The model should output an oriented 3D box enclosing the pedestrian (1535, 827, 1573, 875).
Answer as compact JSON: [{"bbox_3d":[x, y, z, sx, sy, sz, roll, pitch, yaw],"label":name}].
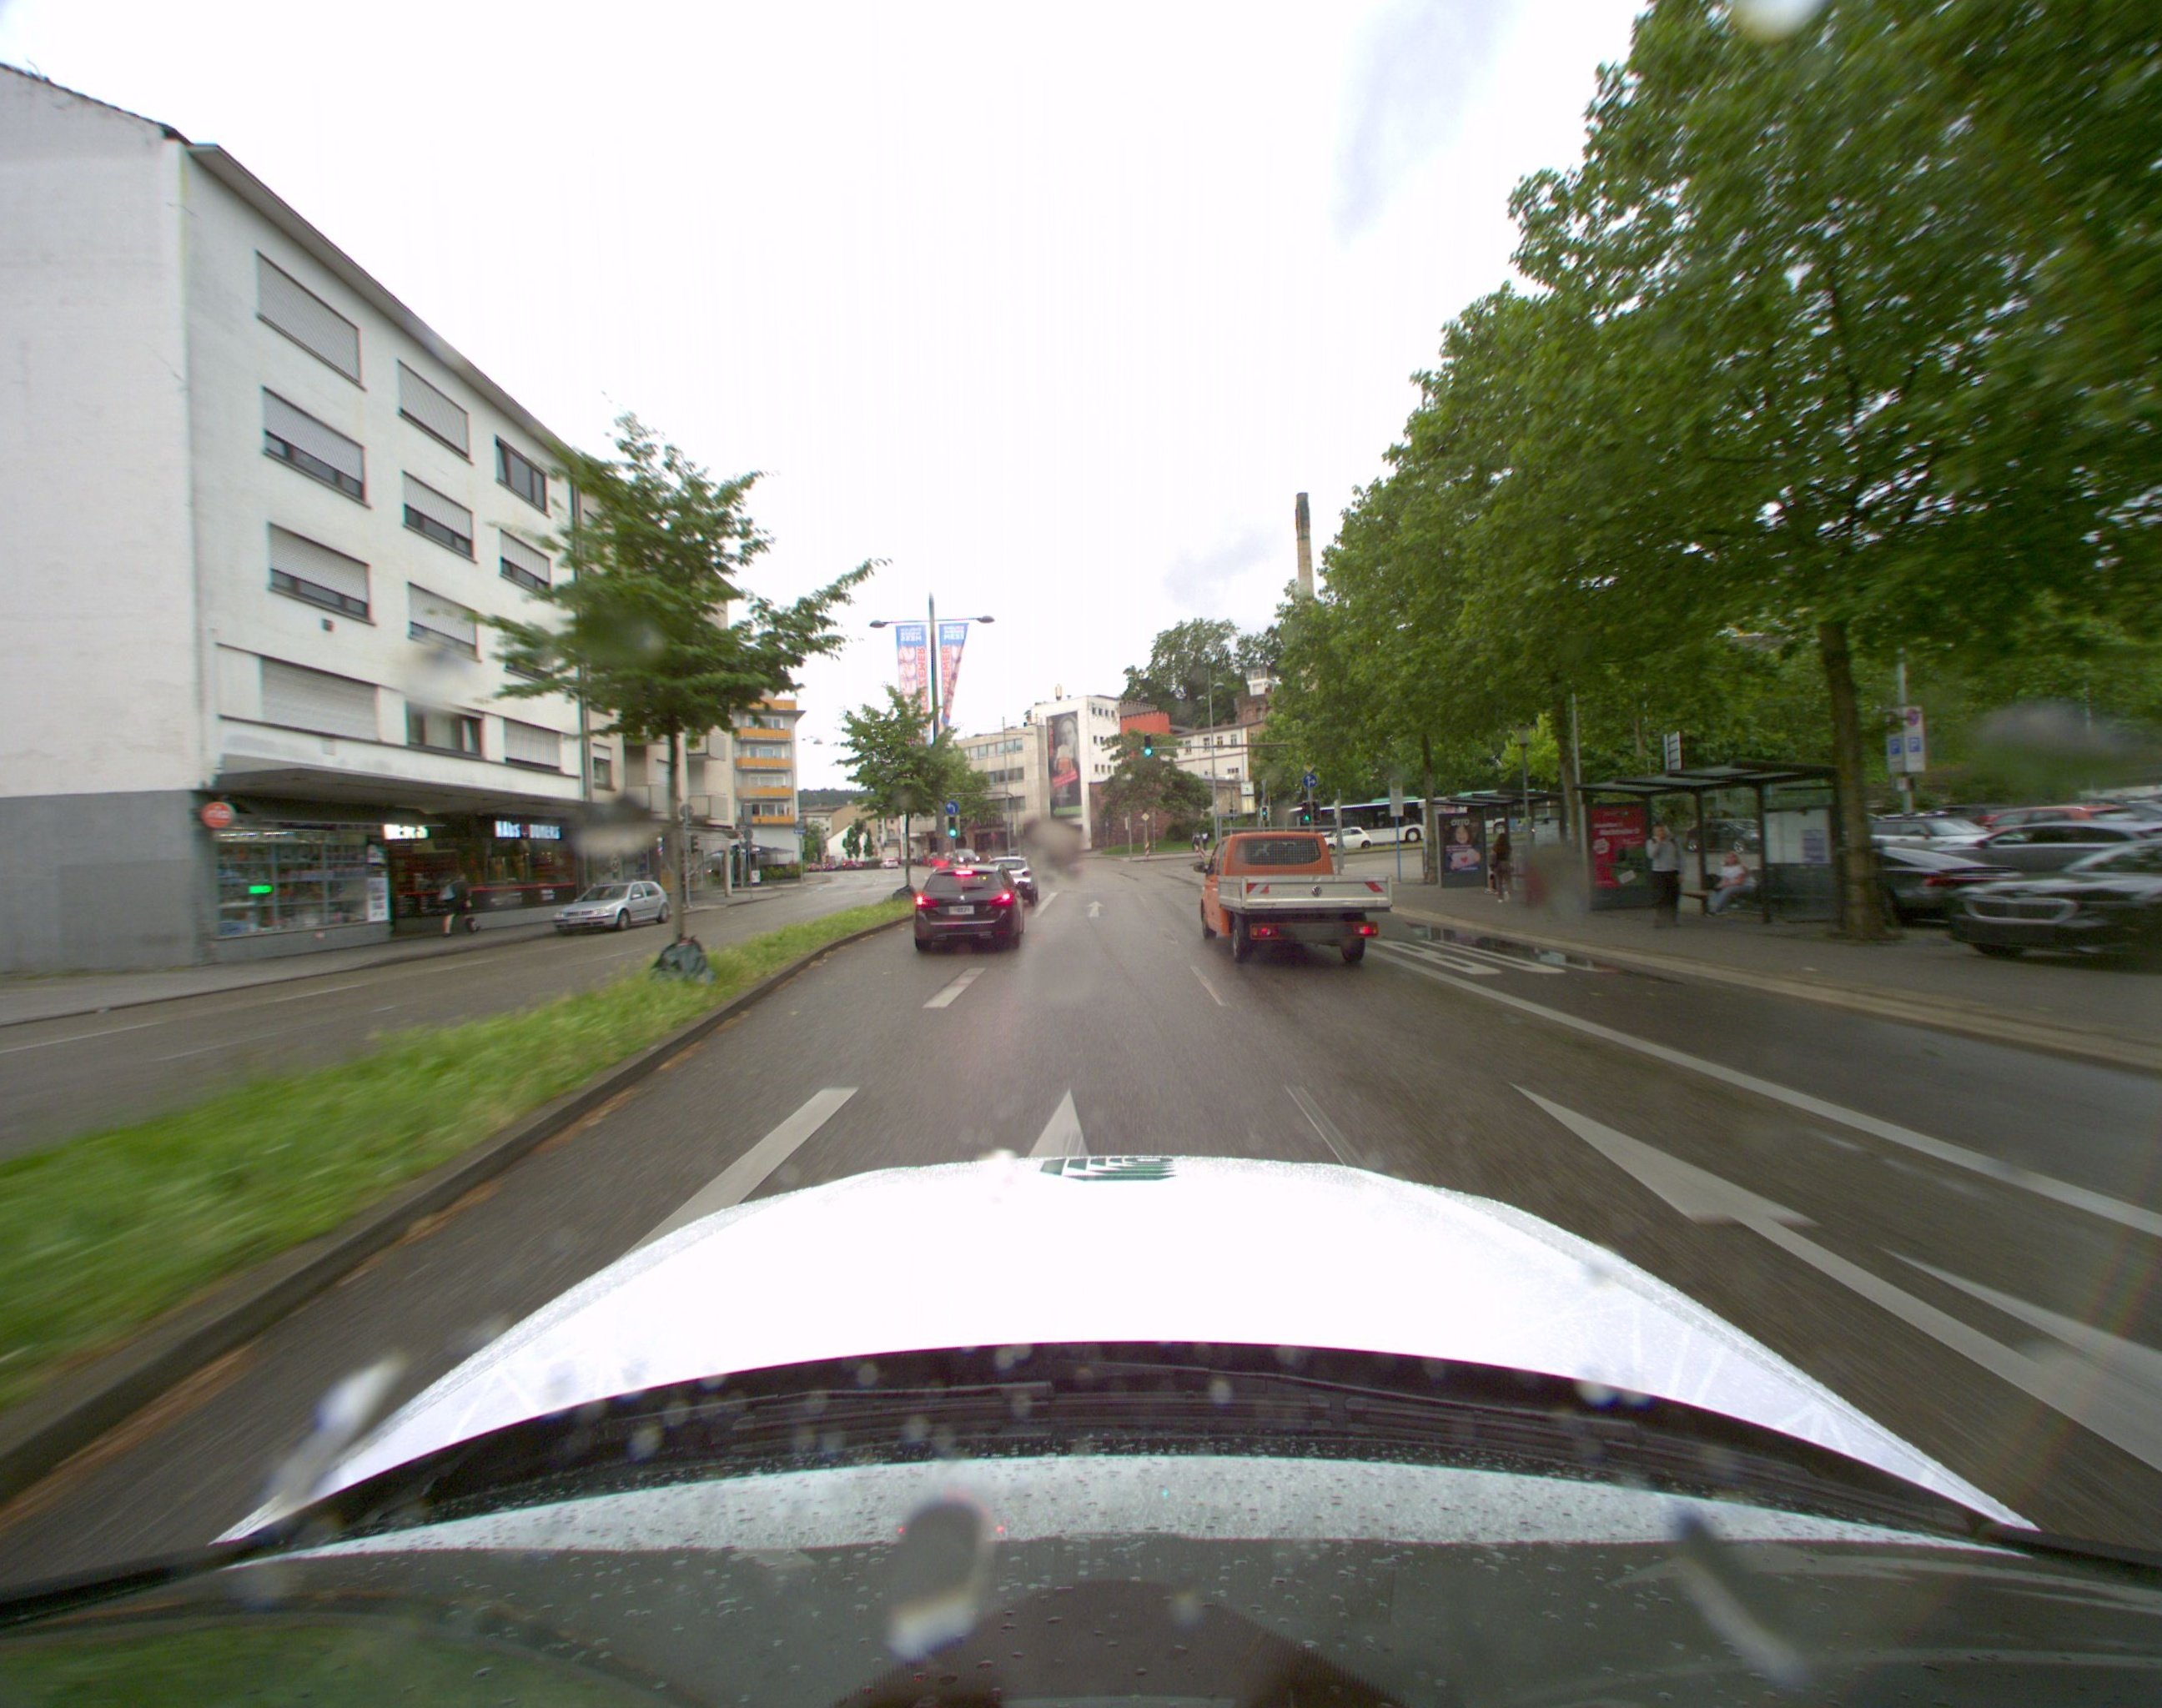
[{"bbox_3d":[16.427,-0.115,28.305,0.762,1.632,0.861,-3,1,0],"label":"pedestrian"}]

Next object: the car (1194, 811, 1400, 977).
[{"bbox_3d":[3.181,0.521,13.339,2.093,2.089,5.545,-2,0,3],"label":"car"}]

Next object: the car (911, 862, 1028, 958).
[{"bbox_3d":[-2.017,0.909,15.144,1.797,1.434,4.386,-2,0,-7],"label":"car"}]

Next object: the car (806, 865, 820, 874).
[{"bbox_3d":[-47.293,2.731,143.799,1.675,1.396,3.832,-3,2,-28],"label":"car"}]

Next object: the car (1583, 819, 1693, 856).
[{"bbox_3d":[24.393,-0.722,35.868,1.846,1.440,4.260,-3,1,-2],"label":"car"}]

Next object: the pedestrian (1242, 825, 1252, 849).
[{"bbox_3d":[11.920,-1.230,58.500,0.552,1.705,0.531,-4,2,14],"label":"pedestrian"}]

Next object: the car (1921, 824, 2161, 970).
[{"bbox_3d":[12.677,0.422,9.216,4.384,1.484,1.864,0,0,1],"label":"car"}]

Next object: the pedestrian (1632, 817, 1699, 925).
[{"bbox_3d":[10.310,0.305,14.389,0.725,1.842,0.761,-2,-1,19],"label":"pedestrian"}]

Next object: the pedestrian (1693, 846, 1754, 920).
[{"bbox_3d":[11.785,0.521,14.952,0.627,1.322,0.628,-2,-1,13],"label":"pedestrian"}]

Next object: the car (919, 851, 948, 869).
[{"bbox_3d":[-14.054,0.549,77.414,1.763,1.614,4.180,-4,1,-22],"label":"car"}]

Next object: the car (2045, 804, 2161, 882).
[{"bbox_3d":[23.970,-0.256,17.485,1.752,1.590,3.998,-4,2,-2],"label":"car"}]

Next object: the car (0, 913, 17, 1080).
[{"bbox_3d":[-9.998,1.285,5.064,1.600,1.430,3.940,-5,0,-4],"label":"car"}]

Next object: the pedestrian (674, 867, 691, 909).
[{"bbox_3d":[-16.997,1.452,34.720,0.450,1.730,0.524,1,1,1],"label":"pedestrian"}]

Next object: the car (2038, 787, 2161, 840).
[{"bbox_3d":[31.236,-1.206,23.860,1.750,1.448,4.003,-4,2,3],"label":"car"}]

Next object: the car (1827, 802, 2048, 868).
[{"bbox_3d":[24.002,-0.552,23.081,1.752,1.590,4.174,-4,2,-2],"label":"car"}]

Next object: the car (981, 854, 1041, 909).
[{"bbox_3d":[-2.085,0.786,25.147,1.532,1.461,3.628,-3,1,-1],"label":"car"}]

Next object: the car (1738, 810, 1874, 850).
[{"bbox_3d":[30.444,-0.971,34.407,1.846,1.480,4.260,-3,1,-2],"label":"car"}]

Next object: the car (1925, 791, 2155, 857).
[{"bbox_3d":[26.993,-0.834,23.147,1.752,1.590,3.998,-4,2,-2],"label":"car"}]

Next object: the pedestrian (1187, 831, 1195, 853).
[{"bbox_3d":[8.345,-0.927,61.870,0.563,1.615,0.692,-1,-1,4],"label":"pedestrian"}]

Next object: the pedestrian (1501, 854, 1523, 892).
[{"bbox_3d":[12.009,0.521,22.693,0.399,1.034,0.370,-3,1,1],"label":"pedestrian"}]

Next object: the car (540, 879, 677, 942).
[{"bbox_3d":[-13.897,1.605,24.262,1.672,1.391,4.148,-5,1,-3],"label":"car"}]

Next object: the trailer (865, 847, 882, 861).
[{"bbox_3d":[-42.963,0.071,168.323,2.138,2.715,5.345,-6,1,-26],"label":"trailer"}]

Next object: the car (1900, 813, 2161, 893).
[{"bbox_3d":[21.158,-0.089,17.889,1.729,1.440,4.441,-4,2,-2],"label":"car"}]

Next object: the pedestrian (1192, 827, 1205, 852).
[{"bbox_3d":[8.961,-1.091,61.962,0.876,1.831,0.729,-2,0,2],"label":"pedestrian"}]

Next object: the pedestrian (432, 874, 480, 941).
[{"bbox_3d":[-16.674,1.408,21.748,0.775,1.729,0.660,1,1,0],"label":"pedestrian"}]

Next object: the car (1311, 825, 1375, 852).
[{"bbox_3d":[16.640,-1.000,51.791,3.547,1.451,1.590,-3,2,-1],"label":"car"}]

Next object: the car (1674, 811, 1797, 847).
[{"bbox_3d":[28.295,-1.063,35.408,1.846,1.354,4.260,-3,1,-2],"label":"car"}]

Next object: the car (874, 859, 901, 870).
[{"bbox_3d":[-25.790,1.402,108.297,3.818,1.396,1.680,0,2,44],"label":"car"}]

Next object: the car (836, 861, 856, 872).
[{"bbox_3d":[-34.514,1.816,119.458,1.677,1.396,3.827,-3,2,-33],"label":"car"}]

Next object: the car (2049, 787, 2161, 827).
[{"bbox_3d":[42.095,-1.900,32.483,1.846,1.440,4.260,-3,1,-2],"label":"car"}]

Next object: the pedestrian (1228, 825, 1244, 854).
[{"bbox_3d":[11.183,-1.039,58.734,0.777,2.013,0.592,-4,2,37],"label":"pedestrian"}]

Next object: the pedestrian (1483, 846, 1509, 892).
[{"bbox_3d":[11.813,0.420,23.180,0.497,1.271,0.402,-3,1,1],"label":"pedestrian"}]

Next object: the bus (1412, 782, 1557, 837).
[{"bbox_3d":[27.220,-3.008,55.164,8.507,3.179,2.687,-3,2,-1],"label":"bus"}]

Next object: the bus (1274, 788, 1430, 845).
[{"bbox_3d":[18.175,-2.525,54.992,9.600,3.216,2.704,-3,2,-2],"label":"bus"}]

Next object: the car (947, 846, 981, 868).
[{"bbox_3d":[-9.638,0.269,66.809,1.763,1.614,4.180,-4,1,-22],"label":"car"}]

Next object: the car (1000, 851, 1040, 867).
[{"bbox_3d":[-5.803,0.481,77.401,1.802,1.403,4.585,1,-2,-33],"label":"car"}]

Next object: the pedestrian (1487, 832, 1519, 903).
[{"bbox_3d":[10.429,0.324,20.126,0.534,1.695,0.559,-2,2,40],"label":"pedestrian"}]

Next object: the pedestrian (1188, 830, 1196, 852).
[{"bbox_3d":[9.179,-1.106,67.161,0.593,1.781,0.658,-1,-1,11],"label":"pedestrian"}]
